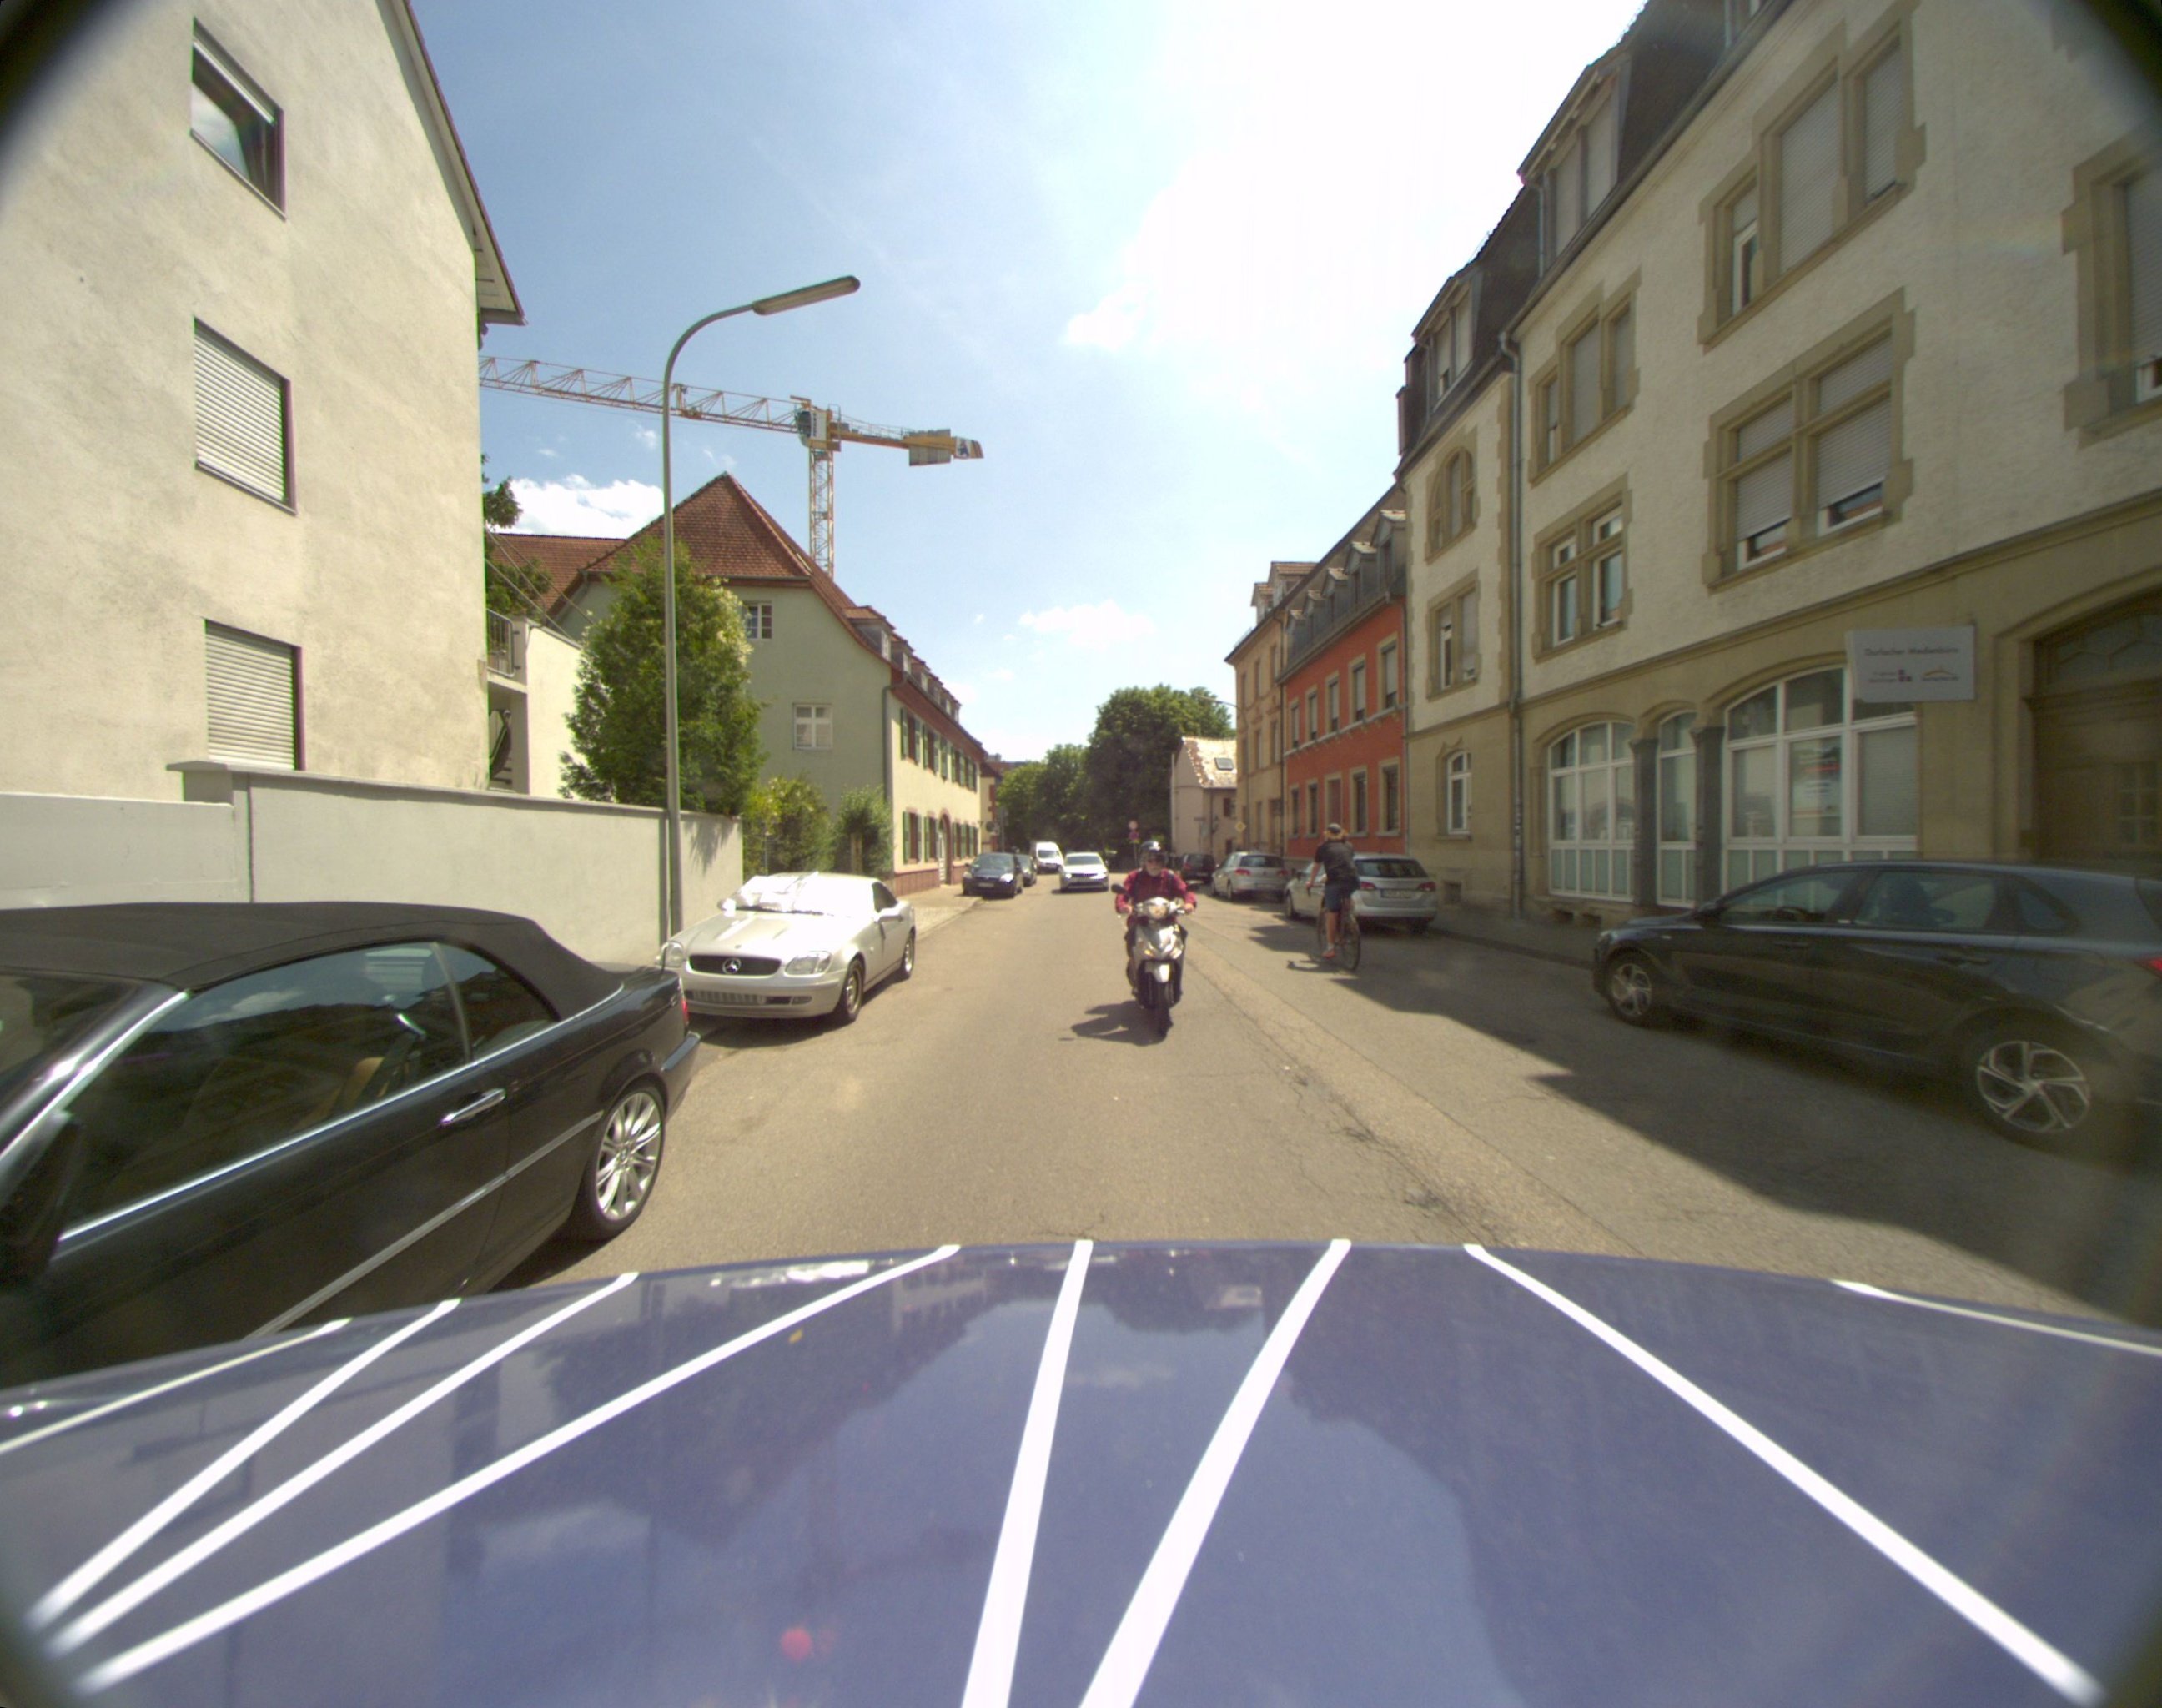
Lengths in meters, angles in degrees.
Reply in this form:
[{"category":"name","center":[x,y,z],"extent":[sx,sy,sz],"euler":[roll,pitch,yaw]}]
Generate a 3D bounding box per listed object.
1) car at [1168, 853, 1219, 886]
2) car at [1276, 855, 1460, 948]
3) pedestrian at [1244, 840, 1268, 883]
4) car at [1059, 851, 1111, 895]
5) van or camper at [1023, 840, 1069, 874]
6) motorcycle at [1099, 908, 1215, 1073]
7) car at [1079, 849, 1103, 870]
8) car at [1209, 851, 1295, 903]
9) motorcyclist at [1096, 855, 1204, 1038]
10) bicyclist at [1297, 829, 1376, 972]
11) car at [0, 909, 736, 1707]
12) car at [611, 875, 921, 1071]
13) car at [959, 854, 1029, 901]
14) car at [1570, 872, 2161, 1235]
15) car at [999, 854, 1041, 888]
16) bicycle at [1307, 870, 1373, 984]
[{"category":"car","center":[5.257,0.694,36.015],"extent":[1.732,1.434,3.856],"euler":[0,1,-2]},{"category":"car","center":[5.333,0.793,14.811],"extent":[1.883,1.502,4.380],"euler":[0,1,-1]},{"category":"pedestrian","center":[7.345,0.324,31.971],"extent":[0.770,1.761,0.763],"euler":[-2,1,-2]},{"category":"car","center":[0.098,0.677,29.036],"extent":[1.812,1.512,3.999],"euler":[-1,1,-2]},{"category":"van or camper","center":[-2.515,0.167,53.724],"extent":[2.001,2.274,5.136],"euler":[-1,1,-17]},{"category":"motorcycle","center":[0.589,1.079,6.628],"extent":[0.760,1.049,1.991],"euler":[-1,1,-1]},{"category":"car","center":[0.767,0.410,57.634],"extent":[1.792,1.516,4.063],"euler":[0,1,1]},{"category":"car","center":[5.201,0.650,23.587],"extent":[1.715,1.451,3.852],"euler":[1,1,-1]},{"category":"motorcyclist","center":[0.567,0.742,6.590],"extent":[0.793,1.432,1.020],"euler":[-1,1,-1]},{"category":"bicyclist","center":[3.314,0.562,9.943],"extent":[0.643,1.752,1.167],"euler":[1,1,3]},{"category":"car","center":[-2.578,1.003,1.873],"extent":[1.661,1.368,4.237],"euler":[0,1,-3]},{"category":"car","center":[-2.863,0.984,7.842],"extent":[1.589,1.346,3.821],"euler":[1,1,0]},{"category":"car","center":[-2.973,0.773,26.782],"extent":[1.851,1.506,4.000],"euler":[0,1,2]},{"category":"car","center":[5.526,0.904,4.931],"extent":[1.877,1.430,4.217],"euler":[0,1,-2]},{"category":"car","center":[-2.862,0.775,36.250],"extent":[1.651,1.489,3.999],"euler":[0,1,0]},{"category":"bicycle","center":[3.328,0.885,9.898],"extent":[0.229,1.268,1.883],"euler":[2,1,2]}]
